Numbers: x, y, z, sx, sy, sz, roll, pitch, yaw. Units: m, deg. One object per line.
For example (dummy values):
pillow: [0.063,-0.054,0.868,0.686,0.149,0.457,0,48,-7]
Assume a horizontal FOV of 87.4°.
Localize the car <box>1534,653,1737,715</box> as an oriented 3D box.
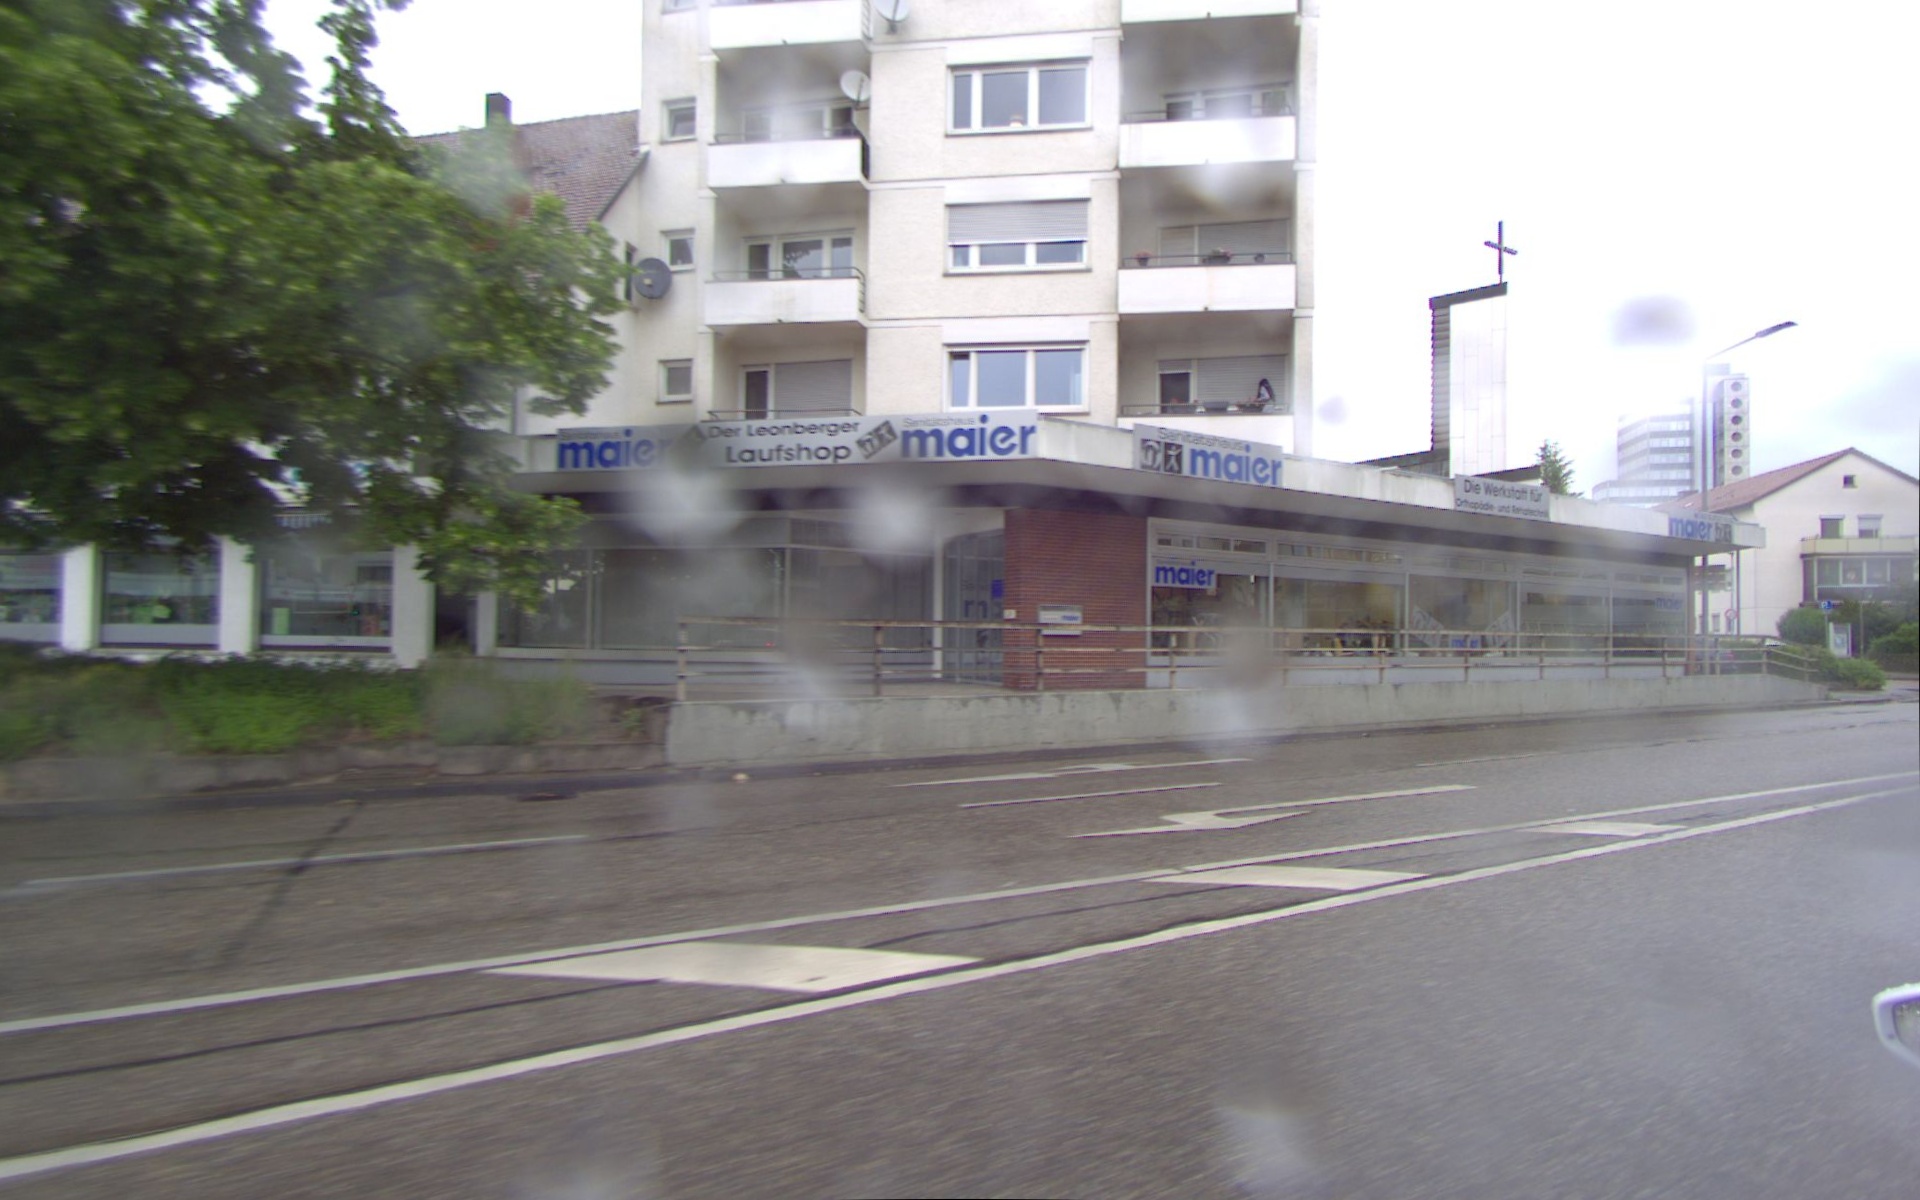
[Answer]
car: [19.160,2.366,28.714,4.380,1.566,2.001,0,-1,13]
